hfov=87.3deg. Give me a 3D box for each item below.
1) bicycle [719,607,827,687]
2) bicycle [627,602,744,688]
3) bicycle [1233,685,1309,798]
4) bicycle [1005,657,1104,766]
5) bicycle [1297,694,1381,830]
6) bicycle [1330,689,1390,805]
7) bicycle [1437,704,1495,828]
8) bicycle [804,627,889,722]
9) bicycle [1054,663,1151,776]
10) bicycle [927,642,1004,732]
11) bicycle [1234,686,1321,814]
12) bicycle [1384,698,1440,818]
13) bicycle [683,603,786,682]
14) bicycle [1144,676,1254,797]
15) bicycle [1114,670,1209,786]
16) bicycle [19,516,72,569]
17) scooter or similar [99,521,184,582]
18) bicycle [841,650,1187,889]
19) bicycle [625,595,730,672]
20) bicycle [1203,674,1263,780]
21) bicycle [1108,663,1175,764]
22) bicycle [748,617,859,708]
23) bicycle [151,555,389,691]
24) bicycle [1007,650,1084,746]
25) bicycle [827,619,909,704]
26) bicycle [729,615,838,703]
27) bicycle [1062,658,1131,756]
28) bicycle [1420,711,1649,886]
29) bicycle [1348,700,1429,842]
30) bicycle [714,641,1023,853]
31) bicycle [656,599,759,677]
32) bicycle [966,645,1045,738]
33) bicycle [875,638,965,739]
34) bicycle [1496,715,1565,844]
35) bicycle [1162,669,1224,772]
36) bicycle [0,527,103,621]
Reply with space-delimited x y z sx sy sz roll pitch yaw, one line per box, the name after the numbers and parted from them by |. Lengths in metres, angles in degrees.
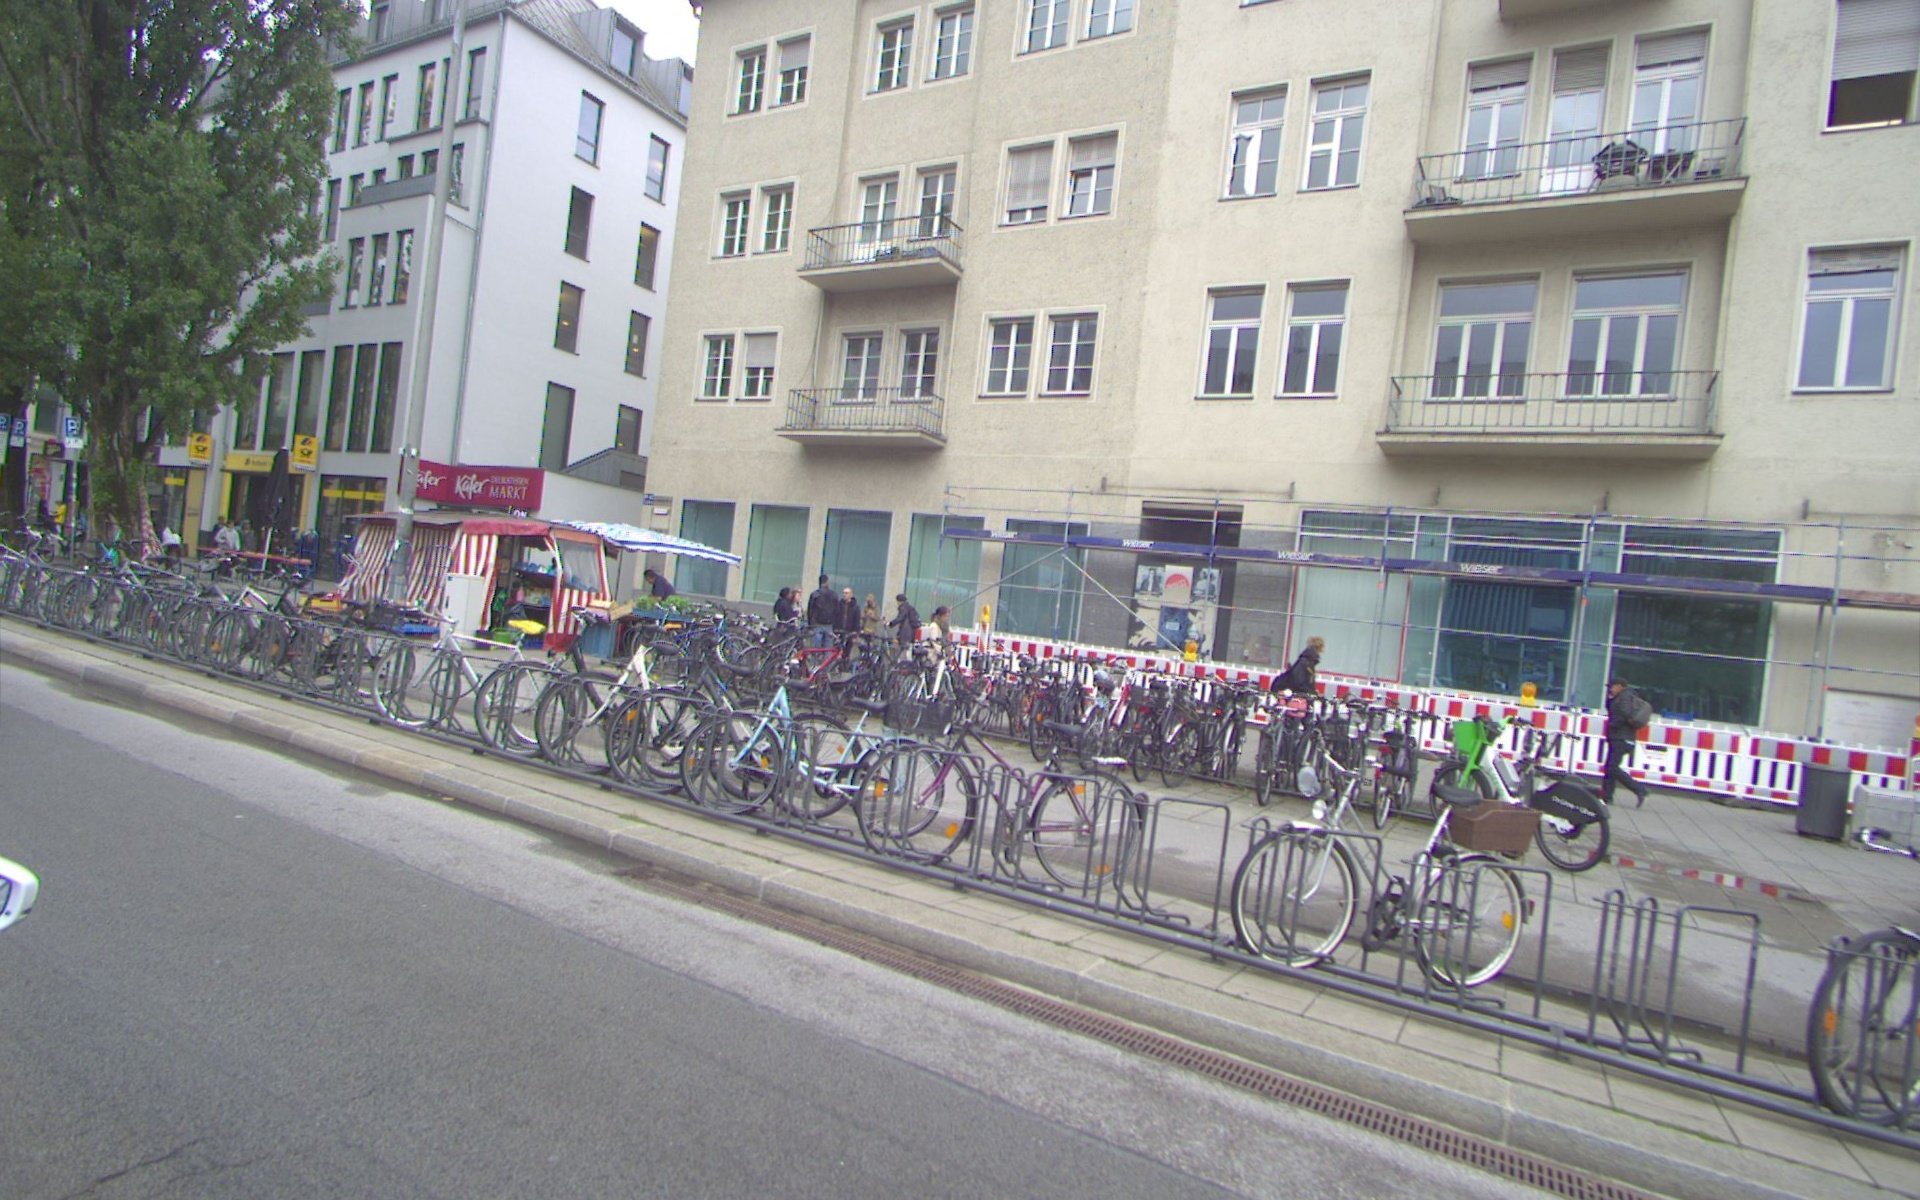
-2.780 0.728 15.114 0.404 1.117 1.627 7 1 39 | bicycle
-3.774 0.640 13.915 1.464 1.091 0.405 6 1 -44 | bicycle
3.494 1.538 11.232 0.403 1.091 1.528 6 0 29 | bicycle
1.071 1.197 11.130 0.403 1.091 1.537 6 0 29 | bicycle
3.605 1.477 9.510 0.403 1.091 1.603 6 0 29 | bicycle
4.365 1.554 10.939 0.403 1.091 1.451 6 0 26 | bicycle
5.251 1.681 10.480 0.403 1.091 1.451 6 0 26 | bicycle
-1.401 0.910 12.649 0.402 1.091 1.453 6 0 18 | bicycle
1.556 1.244 10.815 0.403 1.091 1.526 6 0 29 | bicycle
0.097 1.121 13.323 0.403 1.091 1.452 6 0 22 | bicycle
3.185 1.446 10.023 0.403 1.091 1.623 6 0 29 | bicycle
4.820 1.636 10.688 0.403 1.091 1.451 6 0 26 | bicycle
-3.391 0.659 15.255 0.403 1.117 1.630 6 0 33 | bicycle
2.452 1.339 10.191 0.404 1.091 1.634 7 1 35 | bicycle
2.174 1.316 10.696 0.403 1.091 1.659 6 0 29 | bicycle
-23.241 -1.470 25.560 1.606 1.174 0.478 7 0 32 | bicycle
-18.267 -1.062 22.492 0.393 1.222 1.470 6 0 13 | scooter or similar
0.322 0.983 5.815 1.825 1.070 0.396 11 -2 -14 | bicycle
-4.432 0.553 15.883 0.404 1.117 1.628 7 1 36 | bicycle
3.225 1.449 11.816 0.403 1.091 1.452 6 0 22 | bicycle
2.234 1.344 12.272 0.403 1.091 1.452 6 0 22 | bicycle
-2.009 0.819 13.067 0.404 1.091 1.447 7 1 38 | bicycle
-6.781 0.242 9.959 1.776 1.021 0.385 11 -2 -17 | bicycle
1.104 1.202 12.694 0.403 1.091 1.535 6 0 23 | bicycle
-1.296 0.874 14.487 0.402 1.117 1.633 6 0 21 | bicycle
-2.330 0.795 13.441 0.404 1.091 1.478 7 1 36 | bicycle
1.711 1.287 12.463 0.403 1.091 1.452 6 0 22 | bicycle
4.749 1.607 8.472 0.404 1.091 1.754 5 0 -19 | bicycle
3.961 1.510 9.241 0.403 1.091 1.653 6 0 29 | bicycle
-0.590 0.959 6.558 1.825 1.070 0.396 11 -2 -14 | bicycle
-3.909 0.613 15.699 0.403 1.117 1.630 6 0 33 | bicycle
0.614 1.154 13.018 0.403 1.091 1.535 6 0 23 | bicycle
-0.448 1.017 11.958 0.403 1.091 1.452 6 0 22 | bicycle
5.781 1.760 10.167 0.403 1.091 1.647 6 0 33 | bicycle
2.813 1.408 12.070 0.403 1.091 1.452 6 0 22 | bicycle
-12.642 -0.390 13.454 1.556 1.065 0.544 11 -2 -21 | bicycle
